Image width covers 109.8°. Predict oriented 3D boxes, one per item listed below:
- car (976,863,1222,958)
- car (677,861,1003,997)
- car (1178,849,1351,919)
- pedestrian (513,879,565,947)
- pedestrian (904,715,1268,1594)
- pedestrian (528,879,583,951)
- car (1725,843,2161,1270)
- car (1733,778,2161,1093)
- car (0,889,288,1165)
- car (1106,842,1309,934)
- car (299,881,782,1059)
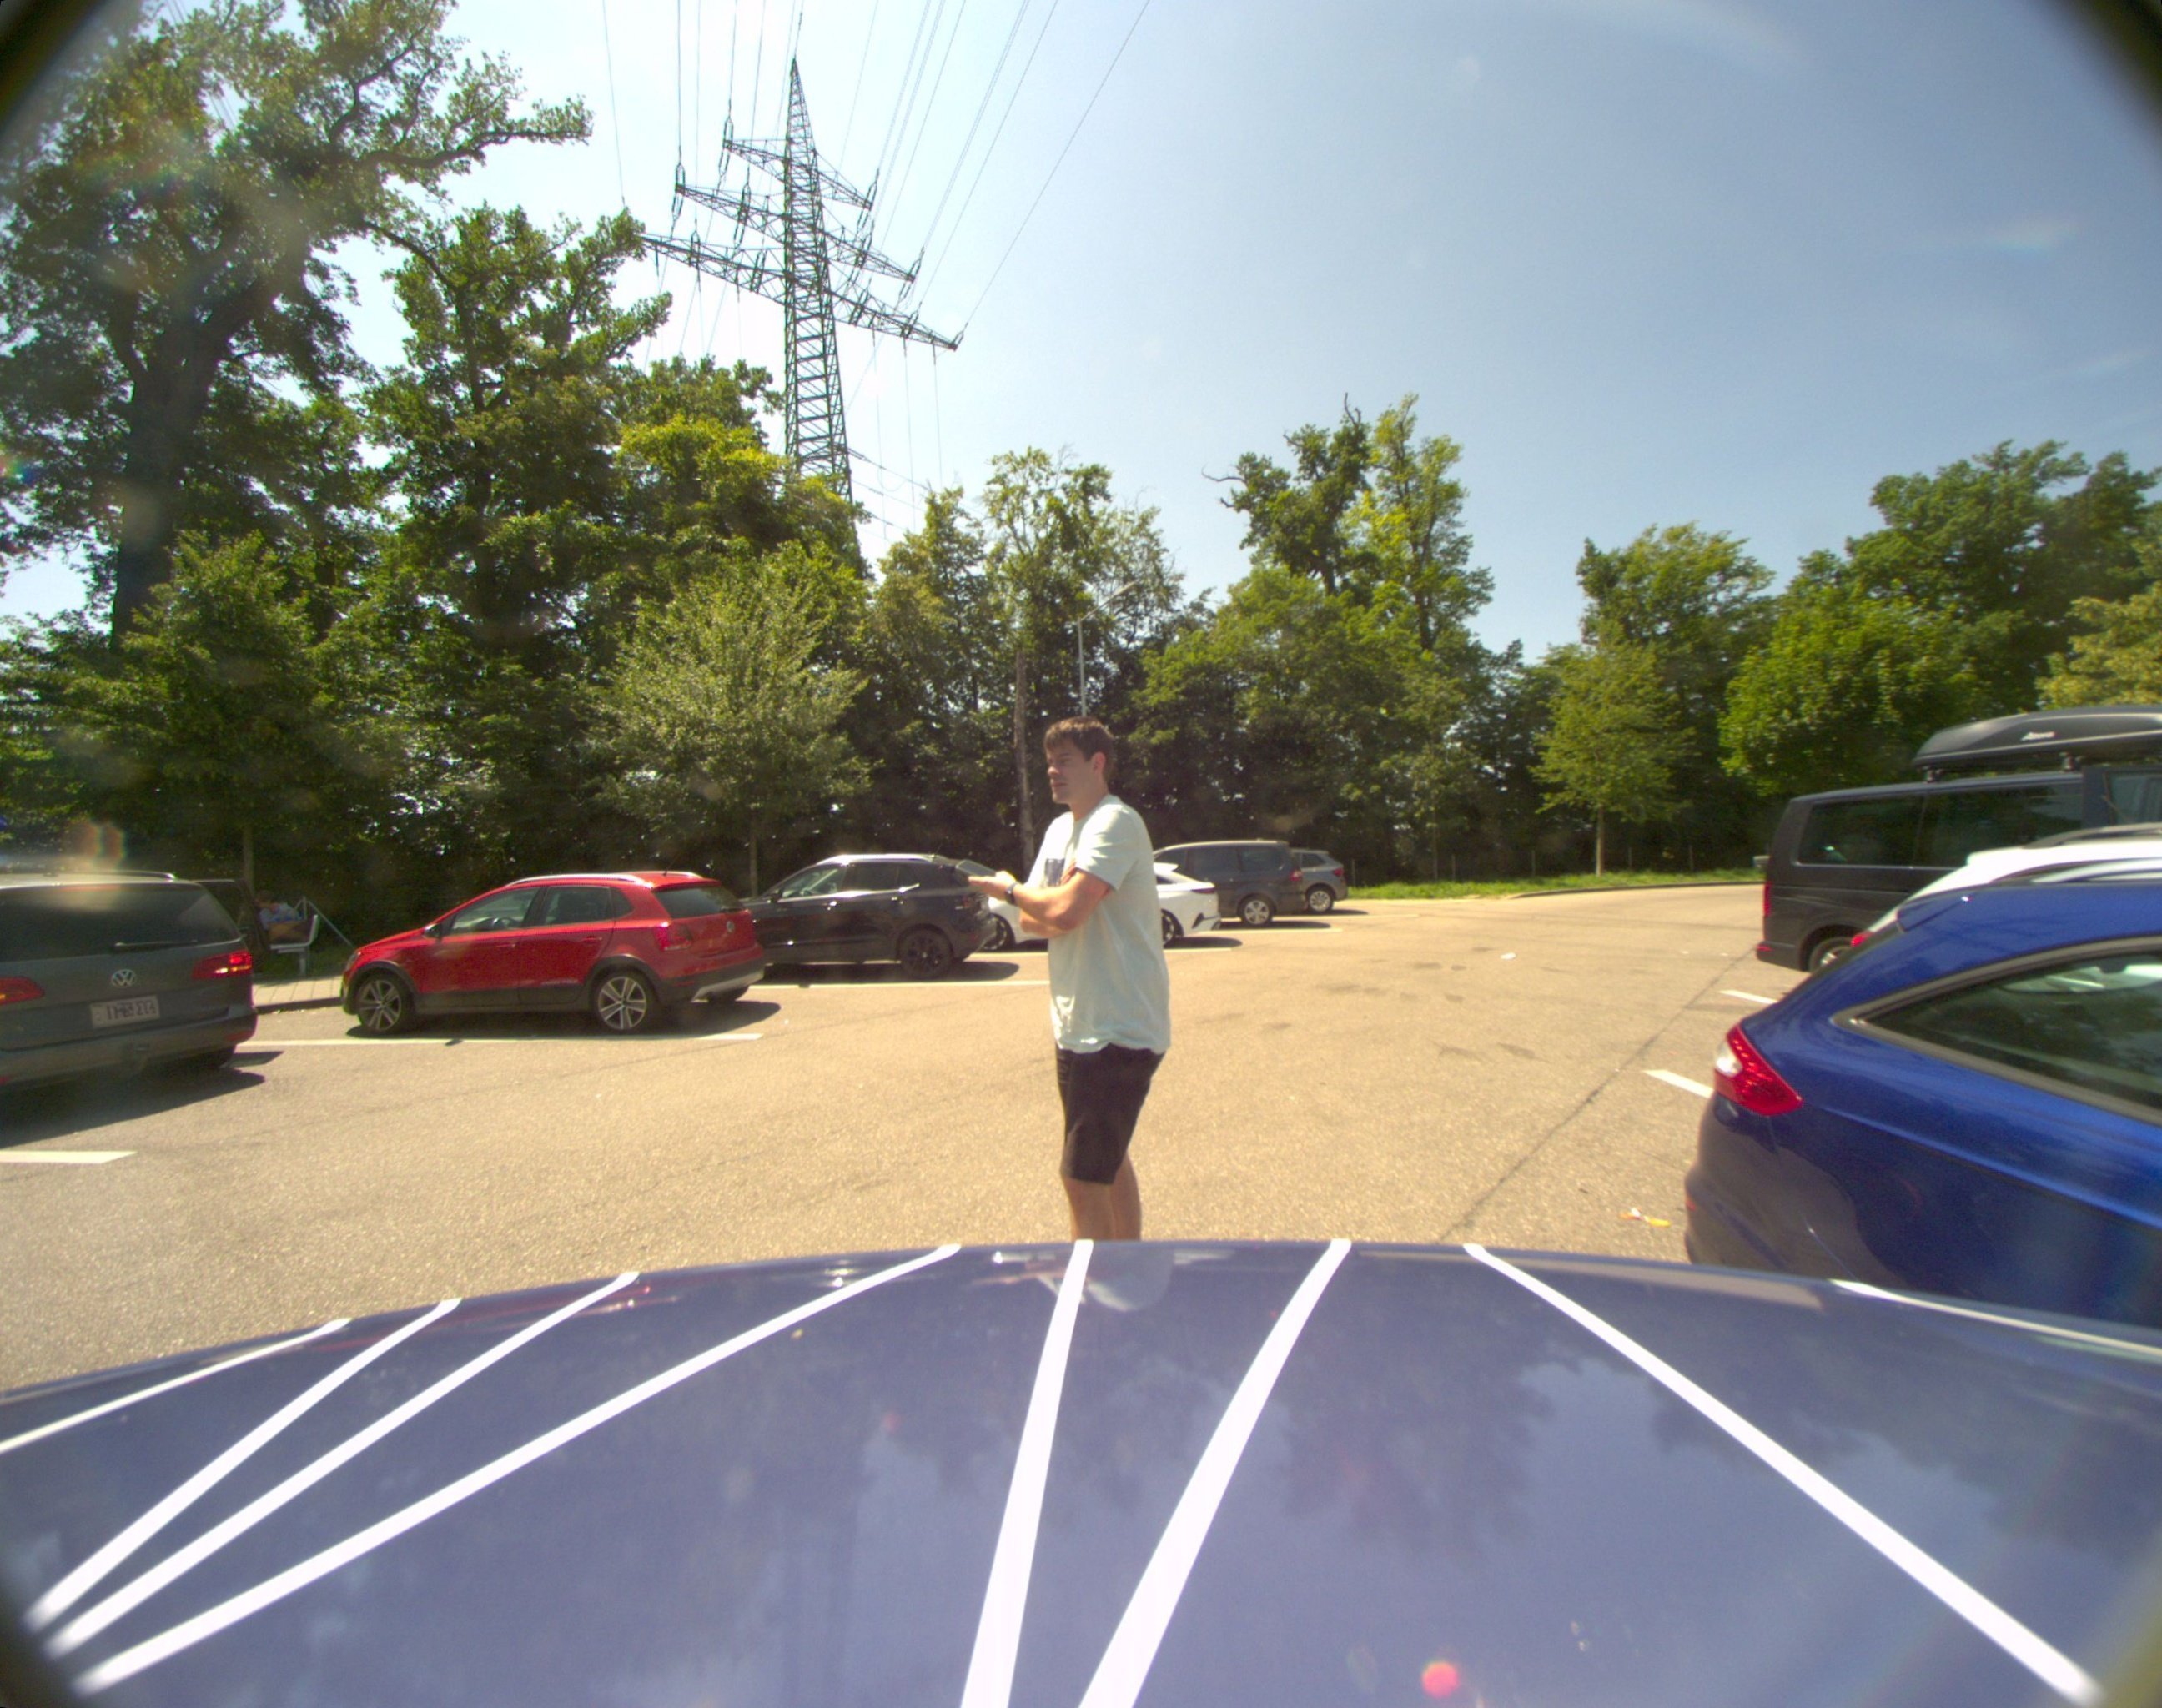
[{"bbox_3d":[0.345,0.905,12.726,3.819,1.377,1.722,-1,1,6],"label":"car"},{"bbox_3d":[-3.085,0.943,10.260,3.787,1.564,1.721,-1,1,2],"label":"car"},{"bbox_3d":[4.320,0.694,18.155,3.818,1.530,1.722,-1,1,12],"label":"car"},{"bbox_3d":[-10.919,1.173,15.305,0.782,1.287,0.670,-1,2,45],"label":"pedestrian"},{"bbox_3d":[-0.047,0.622,2.101,0.622,1.831,0.889,-3,1,-25],"label":"pedestrian"},{"bbox_3d":[-10.033,1.147,14.513,0.782,1.287,0.670,-1,2,45],"label":"pedestrian"},{"bbox_3d":[4.856,0.728,2.284,1.741,1.524,4.642,-3,-1,-2],"label":"car"},{"bbox_3d":[7.303,0.440,4.914,1.961,1.858,4.642,-3,-1,-3],"label":"car"},{"bbox_3d":[-8.309,1.114,5.439,3.985,1.572,1.749,-1,1,12],"label":"car"},{"bbox_3d":[2.568,0.672,15.452,3.818,1.714,1.722,-1,1,12],"label":"car"},{"bbox_3d":[-5.257,1.073,7.649,3.785,1.457,1.722,-1,1,9],"label":"car"}]
